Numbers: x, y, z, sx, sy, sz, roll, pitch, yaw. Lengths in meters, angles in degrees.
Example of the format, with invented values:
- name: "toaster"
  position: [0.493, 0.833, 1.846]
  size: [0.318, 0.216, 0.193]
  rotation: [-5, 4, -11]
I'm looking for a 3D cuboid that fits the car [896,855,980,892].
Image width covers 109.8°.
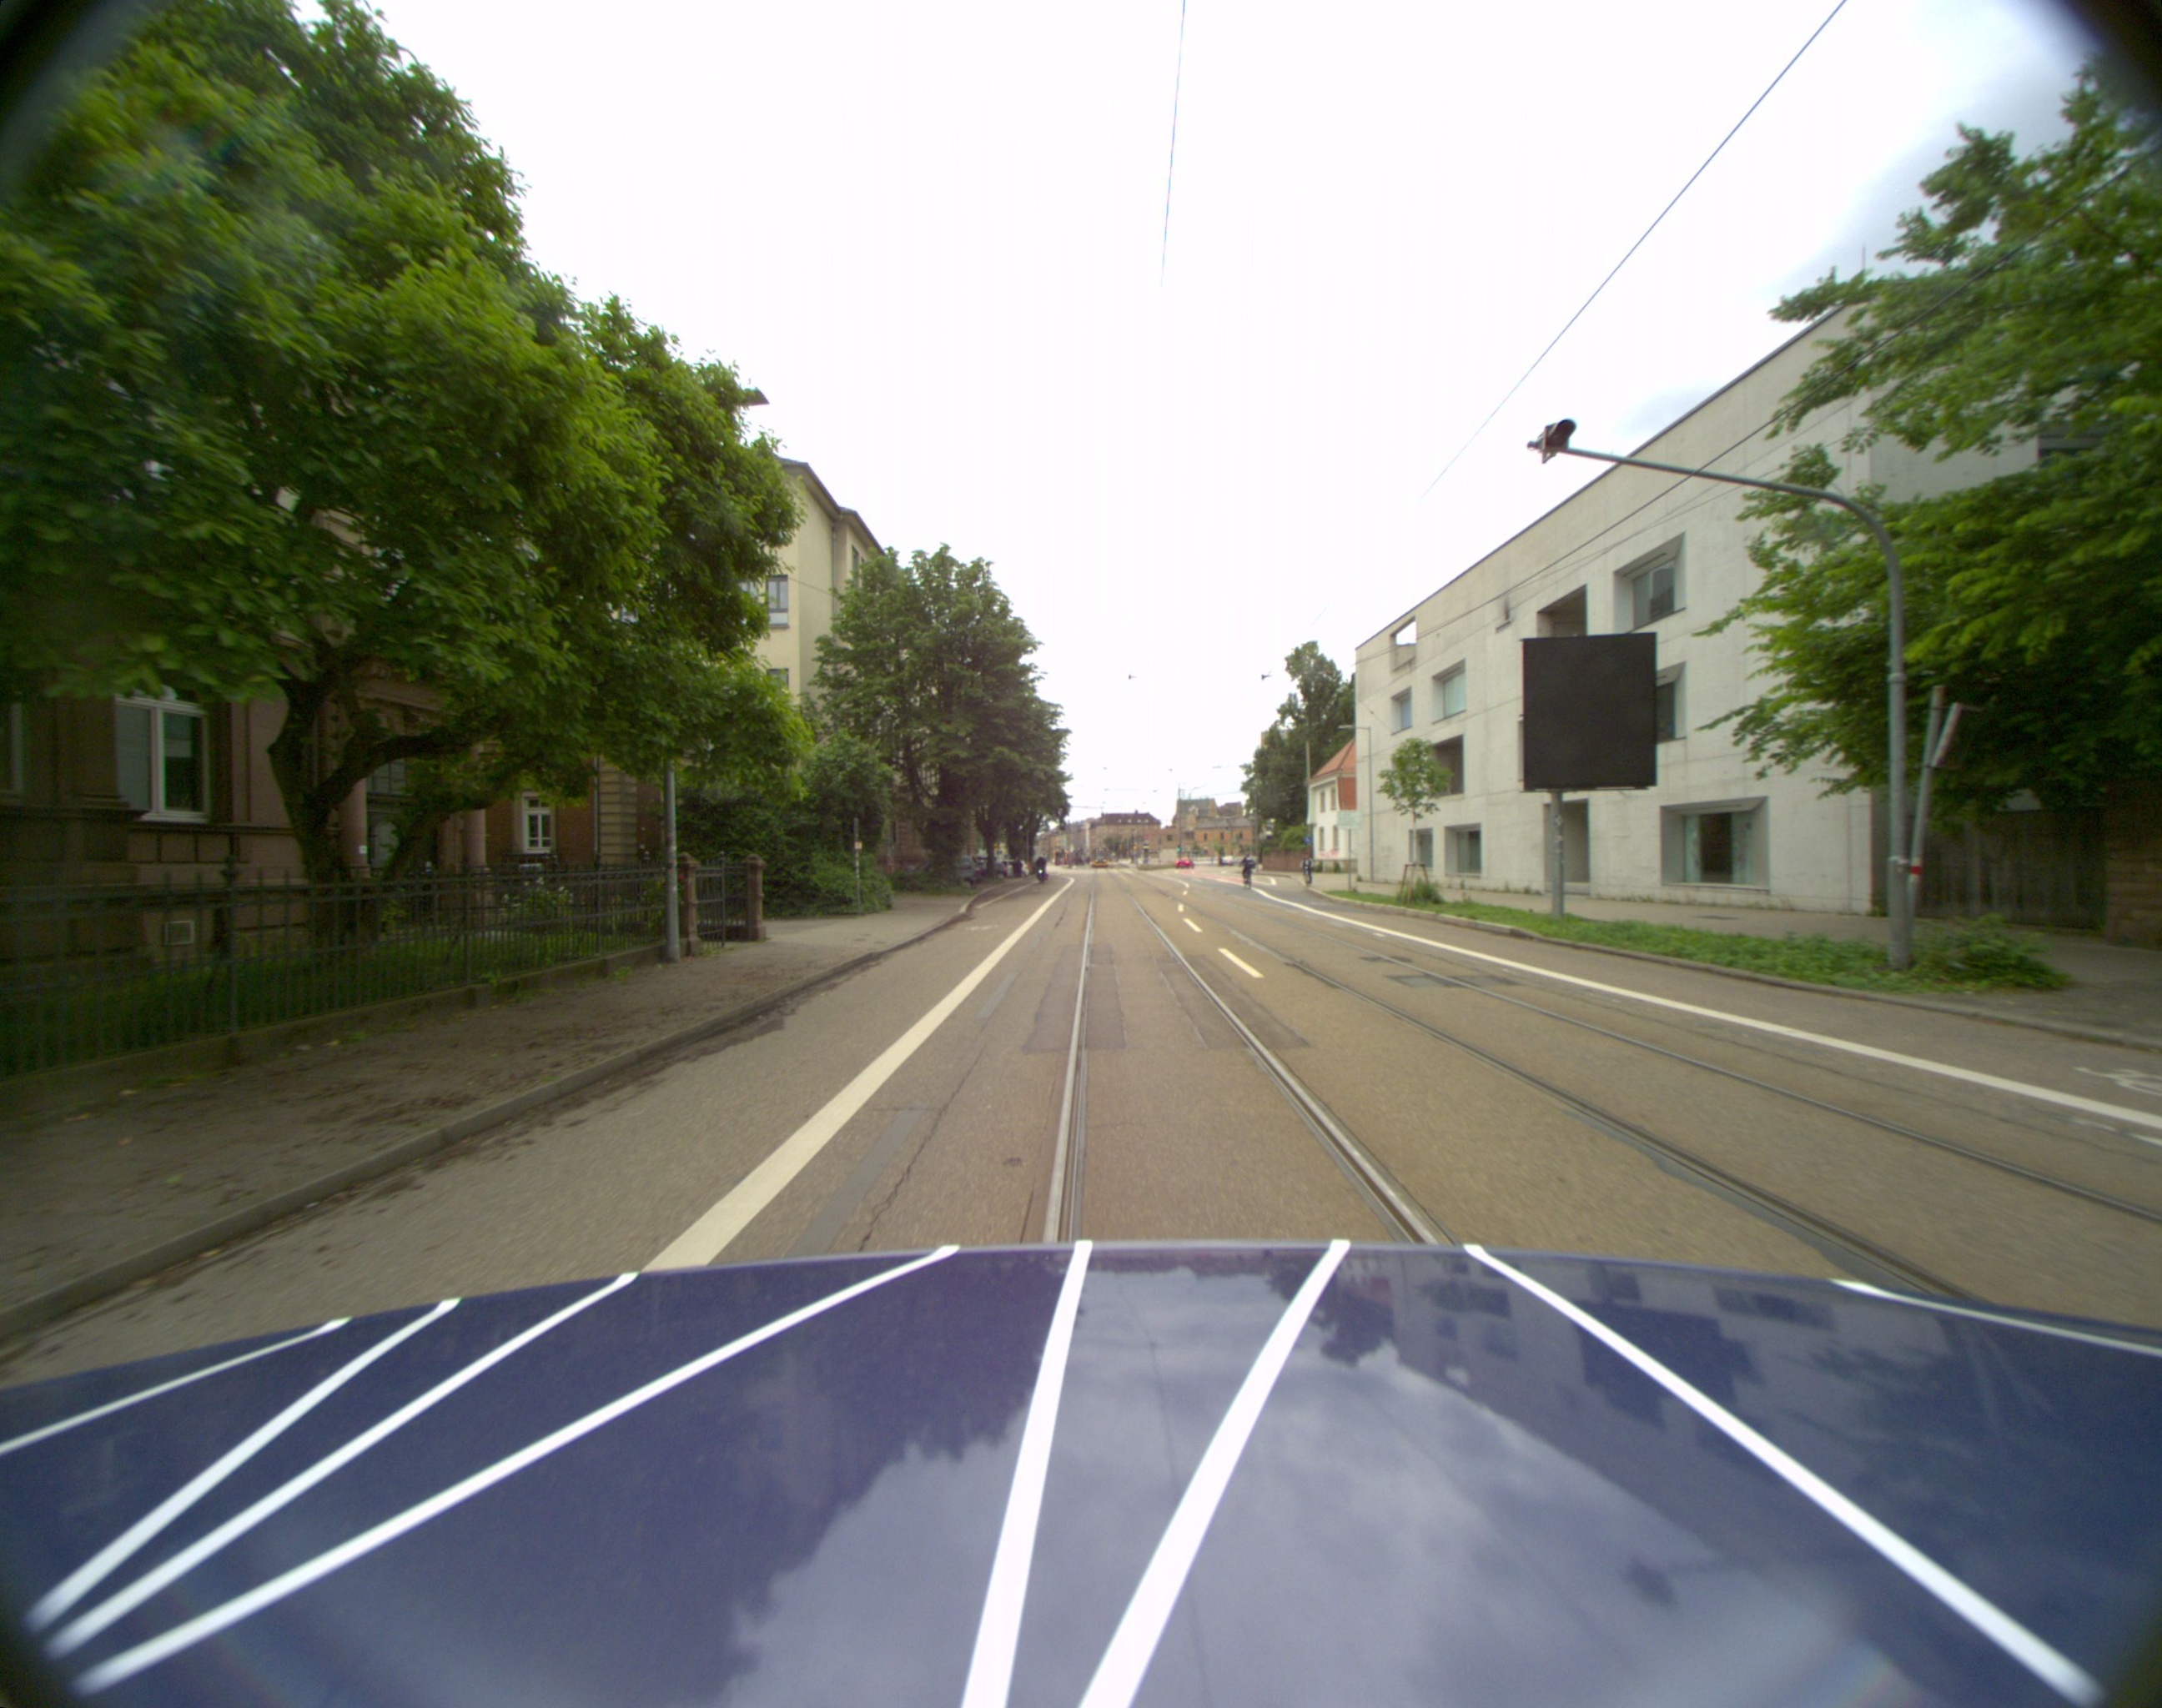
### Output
- name: "car"
  position: [-7.336, 0.984, 38.947]
  size: [3.846, 1.810, 1.803]
  rotation: [0, 0, -30]

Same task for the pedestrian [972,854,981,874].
- name: "pedestrian"
  position: [-9.366, 0.893, 68.104]
  size: [0.680, 1.828, 0.751]
  rotation: [1, 0, 1]

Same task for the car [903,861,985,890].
- name: "car"
  position: [-7.527, 1.141, 41.808]
  size: [4.007, 1.530, 1.860]
  rotation: [0, 0, -34]

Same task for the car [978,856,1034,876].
- name: "car"
  position: [-6.320, 0.984, 63.744]
  size: [4.330, 1.542, 1.747]
  rotation: [-1, 0, -21]

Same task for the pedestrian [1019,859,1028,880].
- name: "pedestrian"
  position: [-4.692, 1.257, 62.127]
  size: [0.614, 1.740, 0.685]
  rotation: [-1, 0, -13]

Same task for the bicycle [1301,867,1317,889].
- name: "bicycle"
  position: [12.731, 1.324, 42.424]
  size: [0.775, 1.205, 1.871]
  rotation: [-1, 0, 17]

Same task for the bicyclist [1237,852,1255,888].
- name: "bicyclist"
  position: [8.456, 0.814, 38.920]
  size: [0.793, 1.773, 1.148]
  rotation: [2, 0, 9]

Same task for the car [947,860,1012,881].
- name: "car"
  position: [-7.425, 1.194, 55.743]
  size: [4.338, 1.394, 1.750]
  rotation: [-1, 0, -32]

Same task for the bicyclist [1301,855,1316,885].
- name: "bicyclist"
  position: [12.742, 0.903, 42.479]
  size: [0.775, 1.681, 0.870]
  rotation: [-1, 0, 17]

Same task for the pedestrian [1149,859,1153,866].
- name: "pedestrian"
  position: [11.040, 1.338, 119.468]
  size: [0.544, 1.050, 0.638]
  rotation: [-1, 1, 9]

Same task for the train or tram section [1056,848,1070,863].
- name: "train or tram section"
  position: [-3.696, 0.364, 155.468]
  size: [2.609, 2.936, 4.965]
  rotation: [-1, 0, -1]

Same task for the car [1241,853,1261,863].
- name: "car"
  position: [27.637, 0.647, 123.330]
  size: [1.682, 1.641, 3.988]
  rotation: [-1, 0, 36]

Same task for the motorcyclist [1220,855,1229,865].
- name: "motorcyclist"
  position: [21.428, 0.887, 113.679]
  size: [1.074, 1.477, 1.253]
  rotation: [-1, 0, 23]

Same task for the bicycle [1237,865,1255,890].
- name: "bicycle"
  position: [8.436, 1.200, 38.912]
  size: [0.793, 1.179, 2.012]
  rotation: [2, 0, 9]

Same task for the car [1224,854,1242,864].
- name: "car"
  position: [23.443, 0.828, 117.327]
  size: [1.491, 1.500, 3.476]
  rotation: [-1, 0, 34]

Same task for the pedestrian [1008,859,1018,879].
- name: "pedestrian"
  position: [-5.528, 1.257, 62.141]
  size: [0.645, 1.616, 0.591]
  rotation: [-1, 0, -22]

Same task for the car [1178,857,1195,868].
- name: "car"
  position: [14.339, 1.164, 103.385]
  size: [1.758, 1.490, 4.004]
  rotation: [0, 0, 15]

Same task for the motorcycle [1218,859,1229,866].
- name: "motorcycle"
  position: [21.230, 1.273, 113.125]
  size: [1.054, 1.063, 2.652]
  rotation: [-1, 0, 22]

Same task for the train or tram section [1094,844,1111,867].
- name: "train or tram section"
  position: [3.555, 0.187, 126.508]
  size: [2.631, 3.659, 5.985]
  rotation: [-1, 0, -1]

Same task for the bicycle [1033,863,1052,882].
- name: "bicycle"
  position: [-2.484, 1.194, 48.783]
  size: [0.852, 1.234, 2.311]
  rotation: [-1, -2, 6]

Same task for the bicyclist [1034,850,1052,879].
- name: "bicyclist"
  position: [-2.459, 0.665, 48.923]
  size: [0.881, 1.811, 1.479]
  rotation: [-1, -1, 6]
